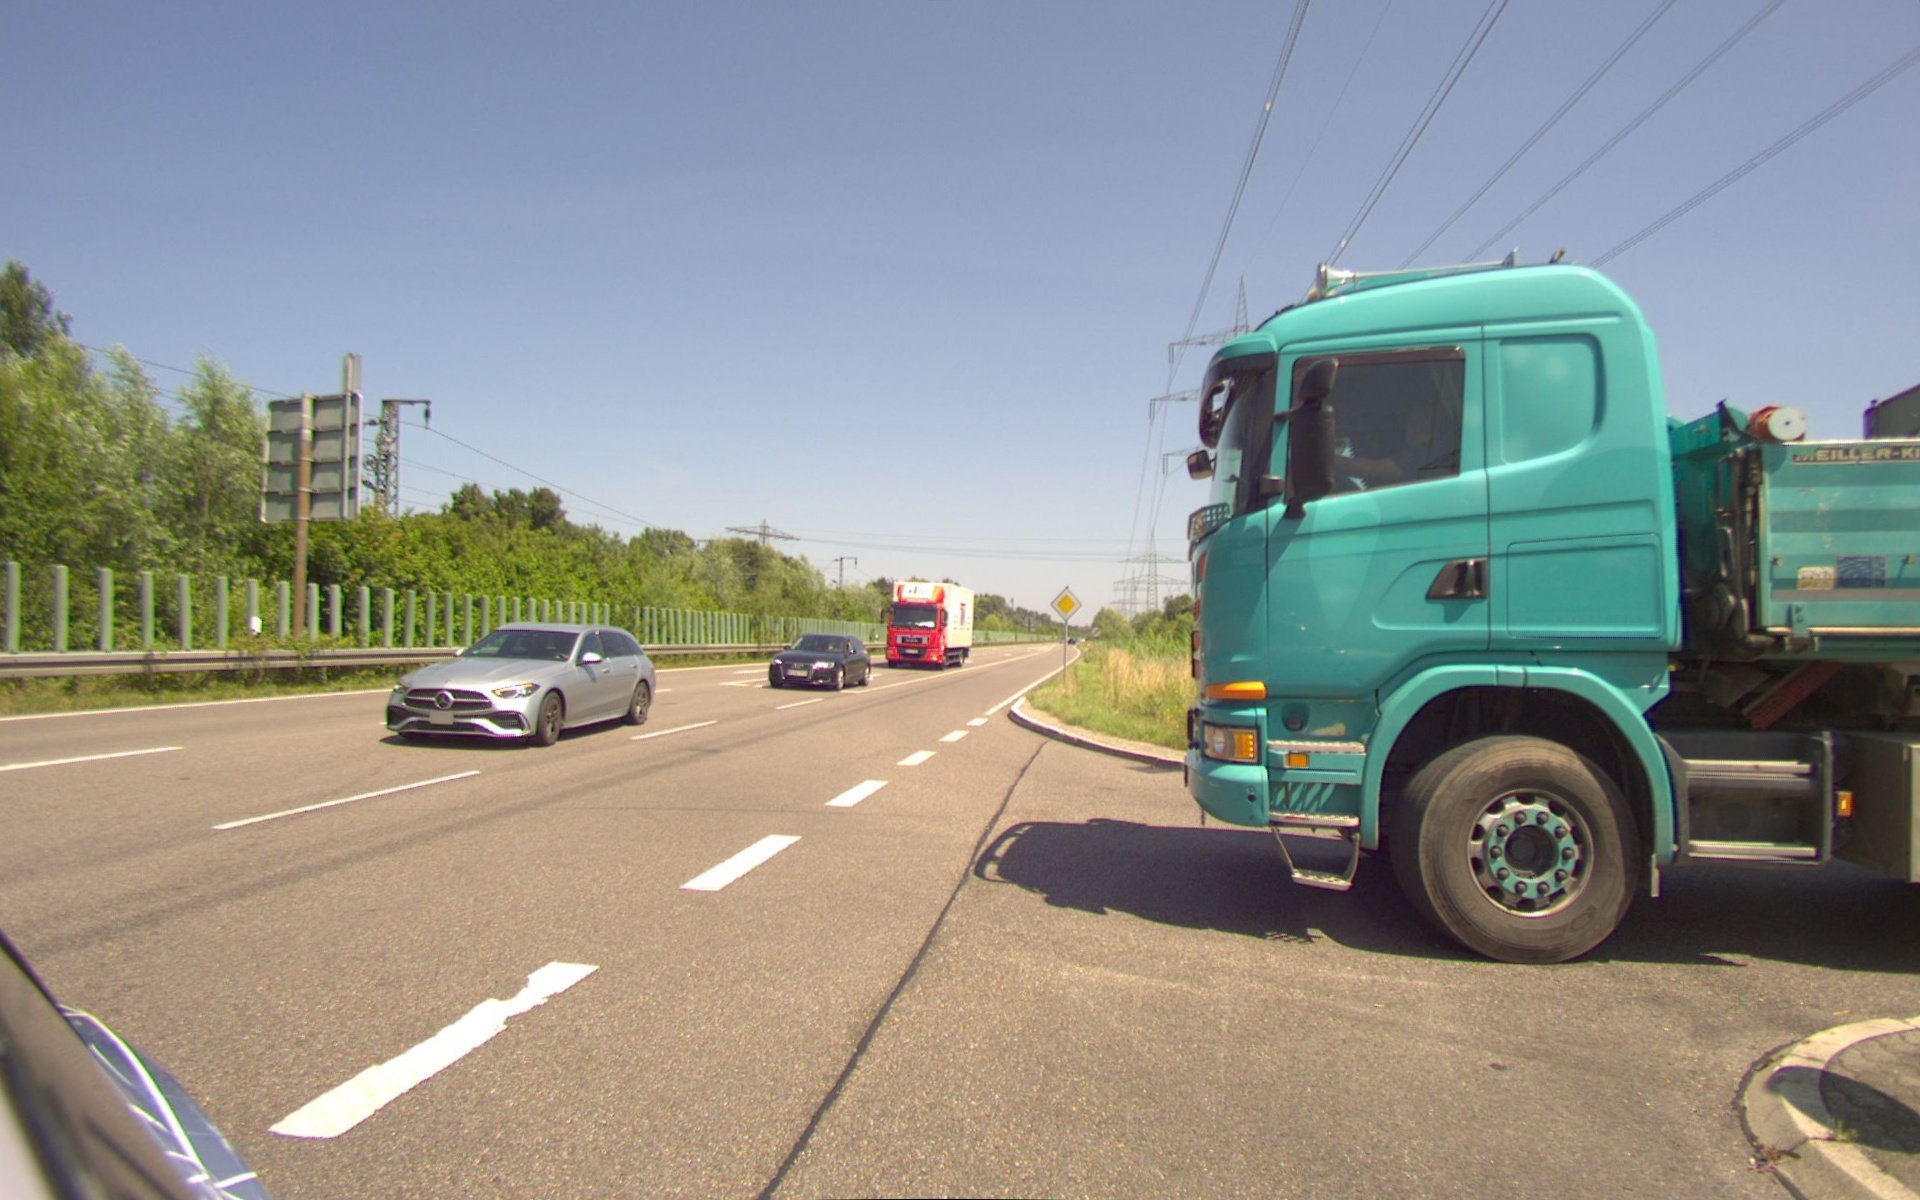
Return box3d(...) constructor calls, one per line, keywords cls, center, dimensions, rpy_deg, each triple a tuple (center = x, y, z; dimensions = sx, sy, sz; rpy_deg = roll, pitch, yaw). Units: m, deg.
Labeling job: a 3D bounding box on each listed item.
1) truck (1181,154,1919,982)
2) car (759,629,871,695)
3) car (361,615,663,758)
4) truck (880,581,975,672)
box3d(cls="truck", center=(5.056, -0.110, 5.353), dimensions=(7.535, 3.498, 2.599), rpy_deg=(-1, -3, 14))
box3d(cls="car", center=(-3.647, 1.561, 26.167), dimensions=(1.804, 1.450, 4.140), rpy_deg=(3, -2, 7))
box3d(cls="car", center=(-5.561, 1.023, 13.241), dimensions=(1.802, 1.498, 4.142), rpy_deg=(2, -2, 5))
box3d(cls="truck", center=(-1.242, 1.090, 45.032), dimensions=(2.694, 3.606, 9.532), rpy_deg=(0, -1, 8))
